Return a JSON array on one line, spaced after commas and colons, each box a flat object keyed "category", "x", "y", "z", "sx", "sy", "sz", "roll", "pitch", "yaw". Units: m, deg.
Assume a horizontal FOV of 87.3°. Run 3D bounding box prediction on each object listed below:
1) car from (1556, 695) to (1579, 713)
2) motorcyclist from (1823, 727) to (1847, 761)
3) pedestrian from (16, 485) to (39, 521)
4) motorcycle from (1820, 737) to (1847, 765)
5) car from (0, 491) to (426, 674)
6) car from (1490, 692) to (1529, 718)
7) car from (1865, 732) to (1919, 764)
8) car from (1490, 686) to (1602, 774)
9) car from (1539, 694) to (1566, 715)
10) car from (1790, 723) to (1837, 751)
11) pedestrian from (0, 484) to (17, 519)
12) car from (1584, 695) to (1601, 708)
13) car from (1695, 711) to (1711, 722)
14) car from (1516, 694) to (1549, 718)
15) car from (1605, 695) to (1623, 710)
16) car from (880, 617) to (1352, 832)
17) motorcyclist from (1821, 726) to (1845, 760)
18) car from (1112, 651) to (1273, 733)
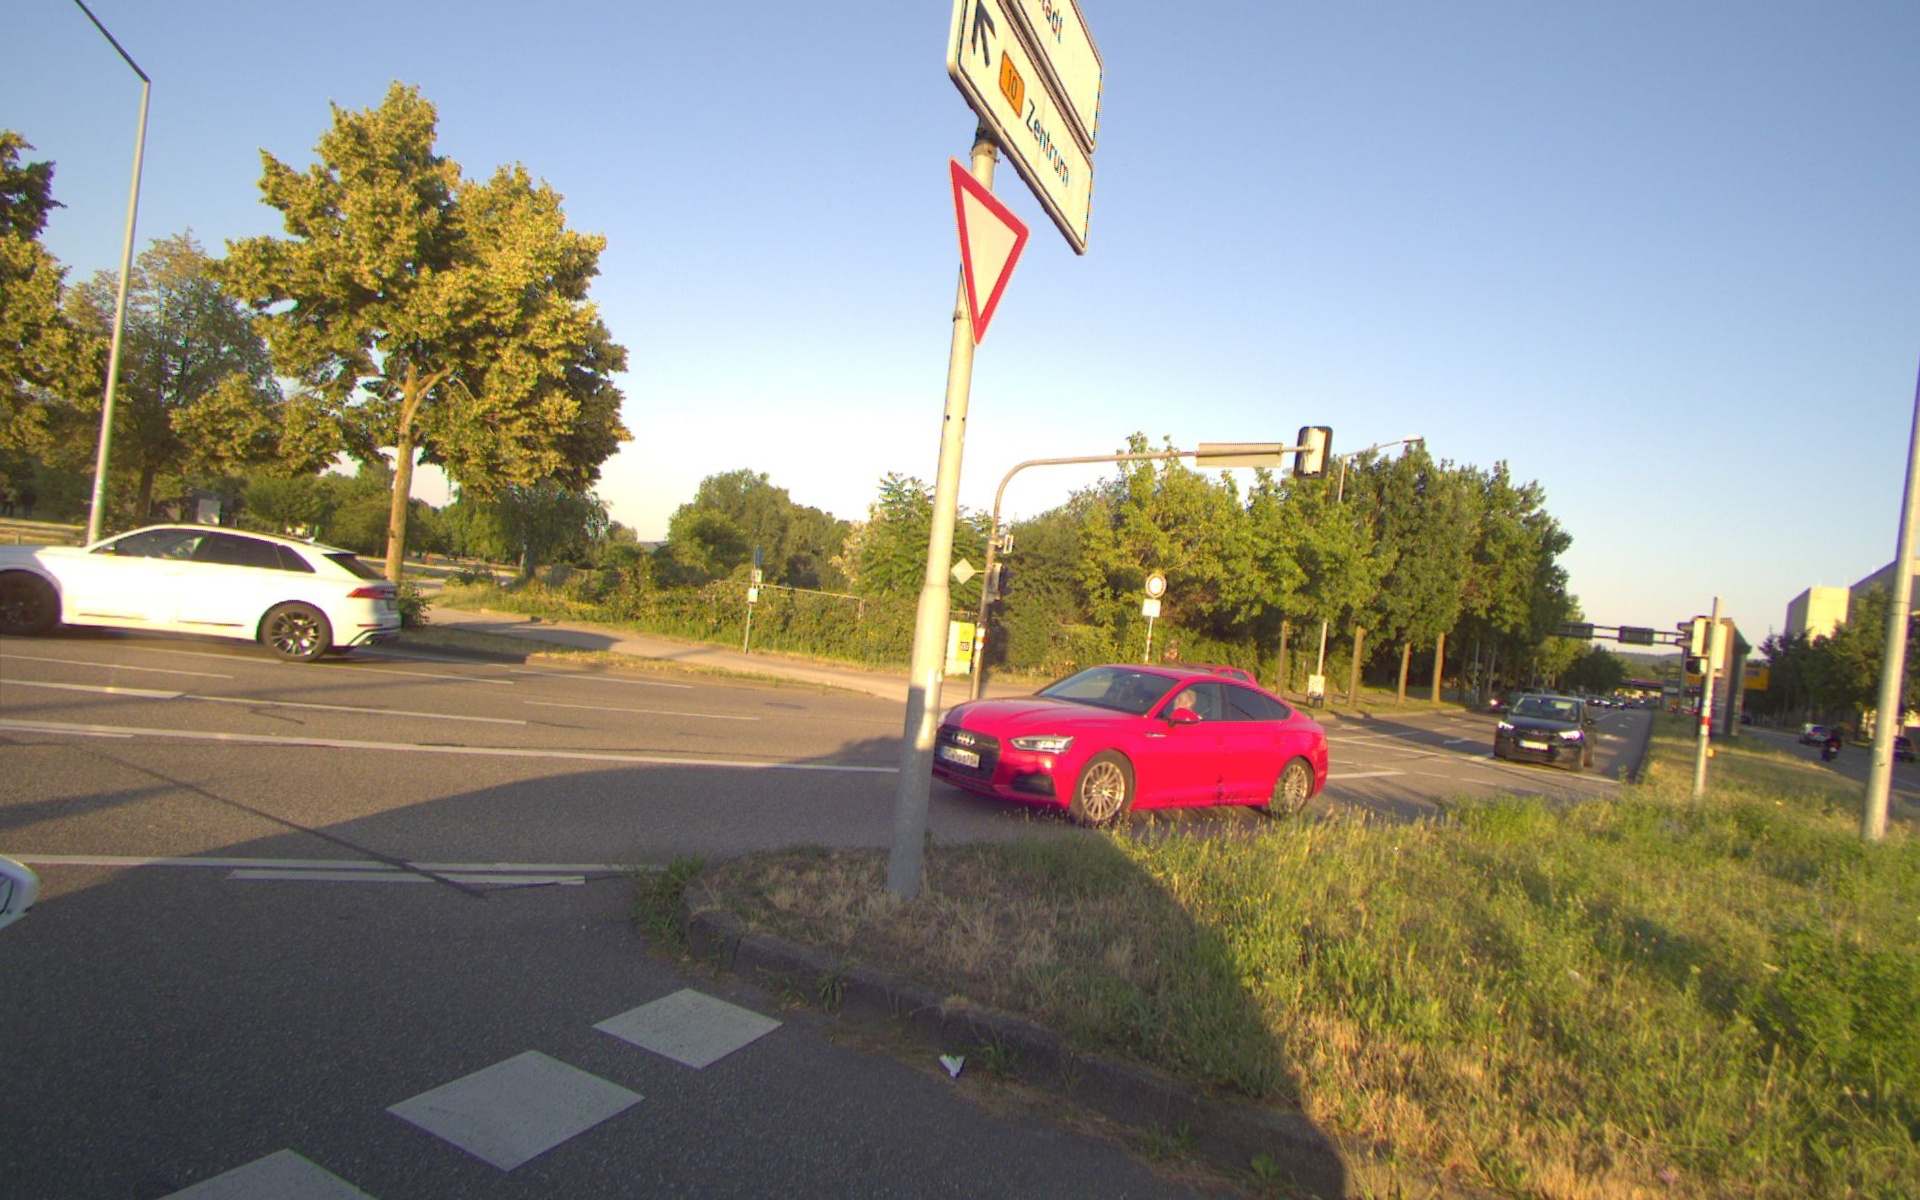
[{"category": "car", "x": 61.040, "y": 10.475, "z": 101.009, "sx": 1.594, "sy": 1.536, "sz": 3.707, "roll": 5, "pitch": -2, "yaw": 35}, {"category": "motorcyclist", "x": 39.772, "y": 6.531, "z": 45.730, "sx": 0.626, "sy": 1.425, "sz": 0.592, "roll": 7, "pitch": 0, "yaw": 35}, {"category": "pedestrian", "x": -46.220, "y": -4.804, "z": 49.875, "sx": 0.523, "sy": 1.646, "sz": 0.617, "roll": 7, "pitch": 0, "yaw": -23}, {"category": "motorcycle", "x": 39.936, "y": 6.883, "z": 46.008, "sx": 0.549, "sy": 1.114, "sz": 2.155, "roll": 7, "pitch": -1, "yaw": 34}, {"category": "car", "x": -10.265, "y": -0.218, "z": 13.706, "sx": 4.873, "sy": 1.730, "sz": 1.905, "roll": 8, "pitch": -1, "yaw": -20}, {"category": "car", "x": 33.096, "y": 6.312, "z": 60.563, "sx": 1.594, "sy": 1.324, "sz": 3.707, "roll": 5, "pitch": -2, "yaw": 35}, {"category": "car", "x": 56.532, "y": 8.944, "z": 60.998, "sx": 1.774, "sy": 1.482, "sz": 3.989, "roll": 7, "pitch": 0, "yaw": 34}, {"category": "car", "x": 13.550, "y": 2.963, "z": 23.151, "sx": 1.696, "sy": 1.631, "sz": 4.125, "roll": 5, "pitch": -2, "yaw": 36}, {"category": "car", "x": 51.192, "y": 9.035, "z": 86.866, "sx": 1.594, "sy": 1.536, "sz": 3.707, "roll": 5, "pitch": -2, "yaw": 35}, {"category": "car", "x": 57.197, "y": 9.169, "z": 67.477, "sx": 1.774, "sy": 1.440, "sz": 4.437, "roll": 7, "pitch": 0, "yaw": 34}, {"category": "pedestrian", "x": -46.723, "y": -4.835, "z": 49.203, "sx": 0.525, "sy": 1.646, "sz": 0.578, "roll": 7, "pitch": 0, "yaw": -20}, {"category": "car", "x": 82.451, "y": 13.223, "z": 131.175, "sx": 1.594, "sy": 1.471, "sz": 3.707, "roll": 5, "pitch": -2, "yaw": 35}, {"category": "car", "x": 120.478, "y": 18.866, "z": 163.128, "sx": 1.789, "sy": 1.543, "sz": 4.124, "roll": 7, "pitch": 0, "yaw": 34}, {"category": "car", "x": 41.489, "y": 7.695, "z": 72.864, "sx": 1.594, "sy": 1.536, "sz": 3.707, "roll": 5, "pitch": -2, "yaw": 35}, {"category": "car", "x": 78.121, "y": 12.262, "z": 120.214, "sx": 1.594, "sy": 1.471, "sz": 3.707, "roll": 5, "pitch": -2, "yaw": 35}, {"category": "car", "x": 1.679, "y": 1.222, "z": 9.718, "sx": 4.547, "sy": 1.477, "sz": 1.825, "roll": 9, "pitch": -1, "yaw": -39}, {"category": "motorcyclist", "x": 40.140, "y": 6.587, "z": 46.271, "sx": 0.626, "sy": 1.433, "sz": 0.713, "roll": 7, "pitch": 0, "yaw": 34}, {"category": "car", "x": 5.278, "y": 2.093, "z": 22.617, "sx": 3.610, "sy": 1.500, "sz": 1.706, "roll": 8, "pitch": -2, "yaw": -43}]
